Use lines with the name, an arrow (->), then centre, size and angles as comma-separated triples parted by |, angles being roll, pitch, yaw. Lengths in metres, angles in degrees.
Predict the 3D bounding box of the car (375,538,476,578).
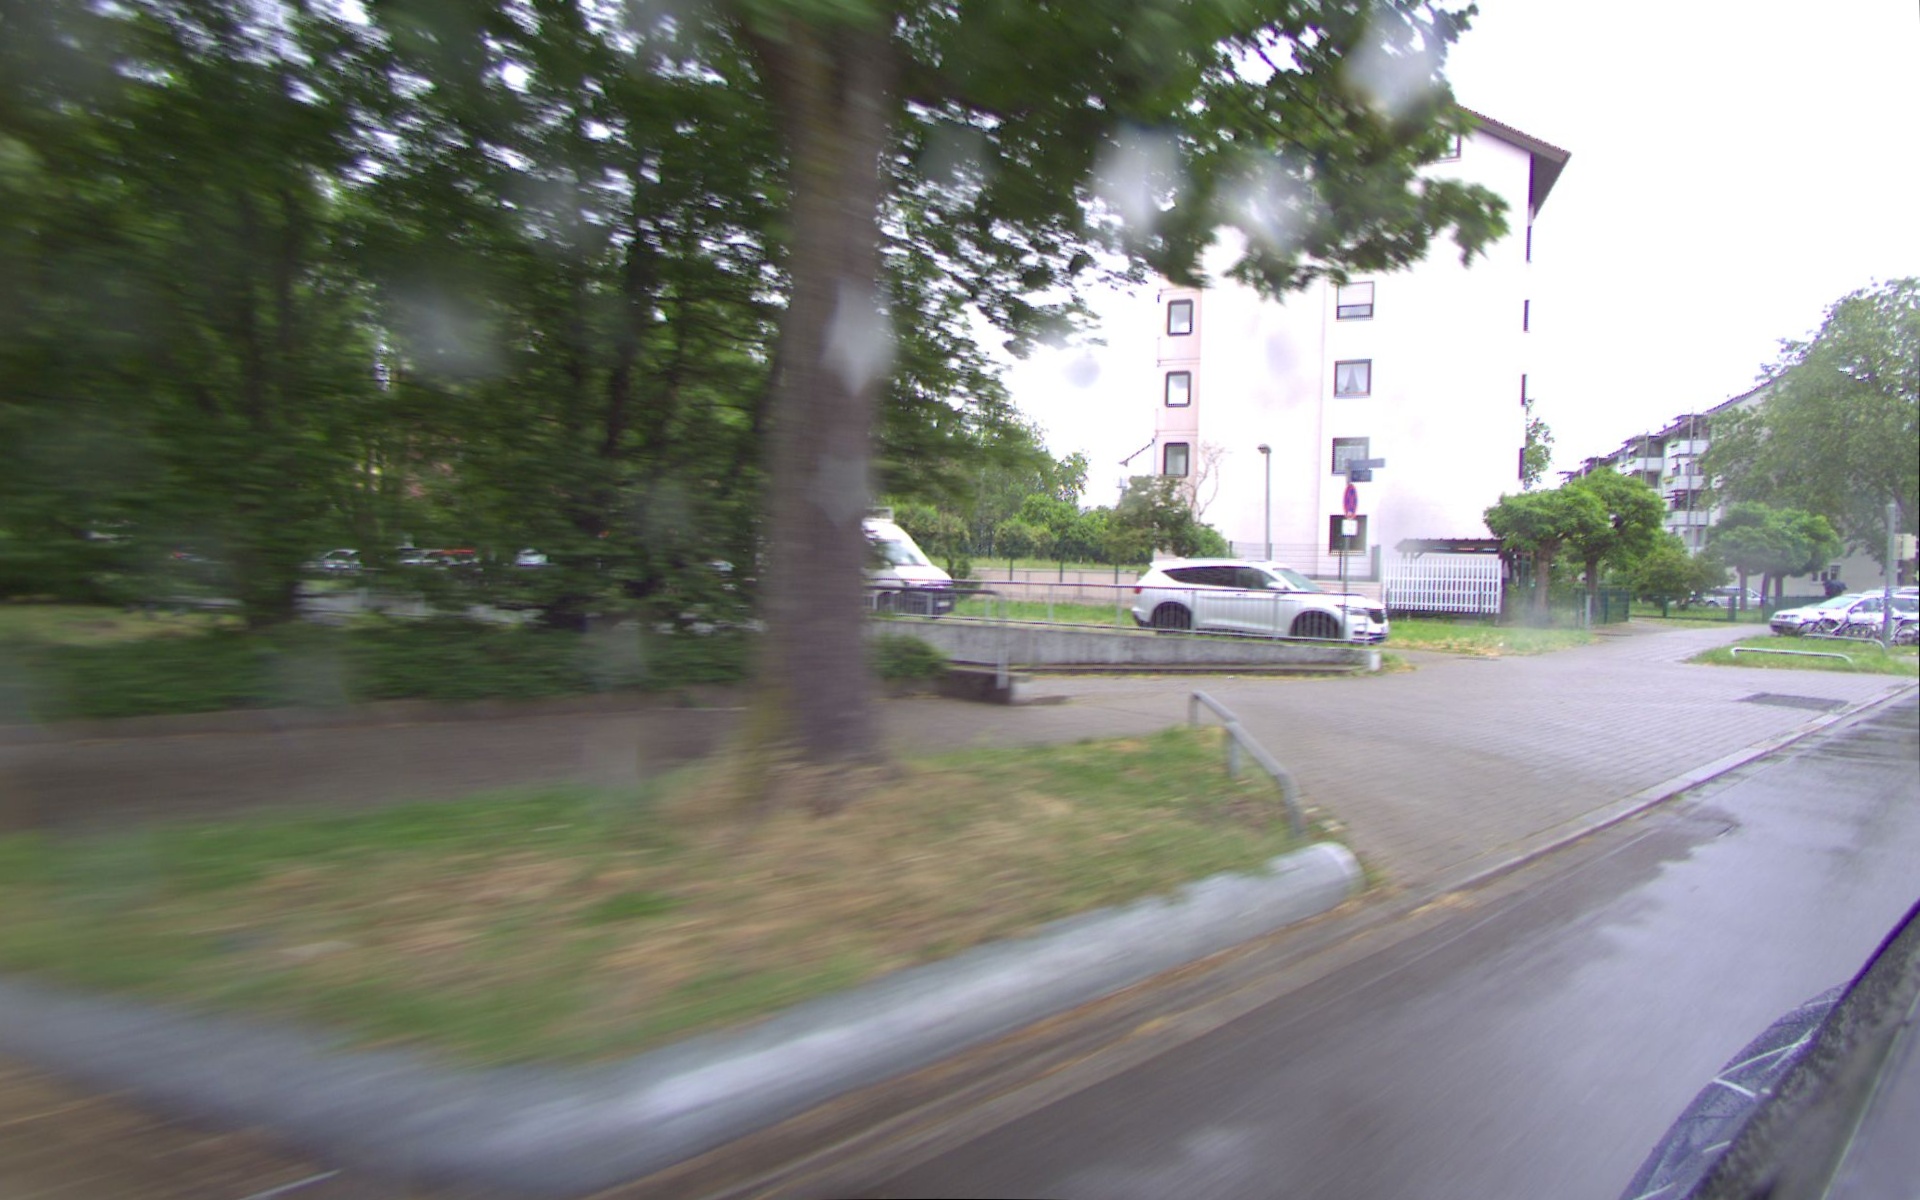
car -> -25.301, -1.938, 48.004 | 1.707, 1.743, 3.959 | 0, 0, 29

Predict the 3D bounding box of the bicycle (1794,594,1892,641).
bicycle -> 23.684, 0.463, 27.171 | 1.921, 1.115, 0.629 | 3, 2, 4

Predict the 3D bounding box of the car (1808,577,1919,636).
car -> 29.147, 0.219, 31.086 | 4.291, 1.671, 1.848 | 3, 2, 17

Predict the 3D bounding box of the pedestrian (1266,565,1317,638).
pedestrian -> 7.492, 0.016, 22.865 | 0.835, 1.589, 0.803 | 3, 2, 37

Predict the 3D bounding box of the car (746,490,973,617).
car -> -2.757, -1.244, 26.608 | 6.038, 3.000, 2.103 | 3, 2, 36

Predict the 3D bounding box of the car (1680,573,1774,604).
car -> 47.365, -0.729, 62.574 | 1.838, 1.701, 4.305 | 0, 3, -39

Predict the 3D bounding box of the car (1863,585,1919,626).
car -> 40.082, 0.287, 41.642 | 3.936, 1.526, 1.702 | 2, 4, 11

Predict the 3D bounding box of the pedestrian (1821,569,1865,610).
pedestrian -> 40.139, -0.480, 46.006 | 1.405, 1.836, 1.104 | 1, 2, -31

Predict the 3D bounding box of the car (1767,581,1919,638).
car -> 26.195, 0.279, 29.228 | 4.064, 1.440, 1.732 | 3, 2, 14

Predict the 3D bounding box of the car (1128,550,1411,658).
car -> 5.849, -0.015, 19.407 | 4.789, 1.767, 1.975 | 3, 2, 36

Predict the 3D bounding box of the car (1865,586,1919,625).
car -> 42.252, 0.291, 43.945 | 3.941, 1.526, 1.778 | 3, 4, 14

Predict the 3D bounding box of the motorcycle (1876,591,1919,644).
motorcycle -> 25.617, 0.480, 26.859 | 1.754, 1.353, 0.686 | 3, 2, 14

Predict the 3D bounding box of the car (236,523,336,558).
car -> -36.767, -3.218, 55.331 | 1.863, 1.699, 4.219 | 1, 1, 23
